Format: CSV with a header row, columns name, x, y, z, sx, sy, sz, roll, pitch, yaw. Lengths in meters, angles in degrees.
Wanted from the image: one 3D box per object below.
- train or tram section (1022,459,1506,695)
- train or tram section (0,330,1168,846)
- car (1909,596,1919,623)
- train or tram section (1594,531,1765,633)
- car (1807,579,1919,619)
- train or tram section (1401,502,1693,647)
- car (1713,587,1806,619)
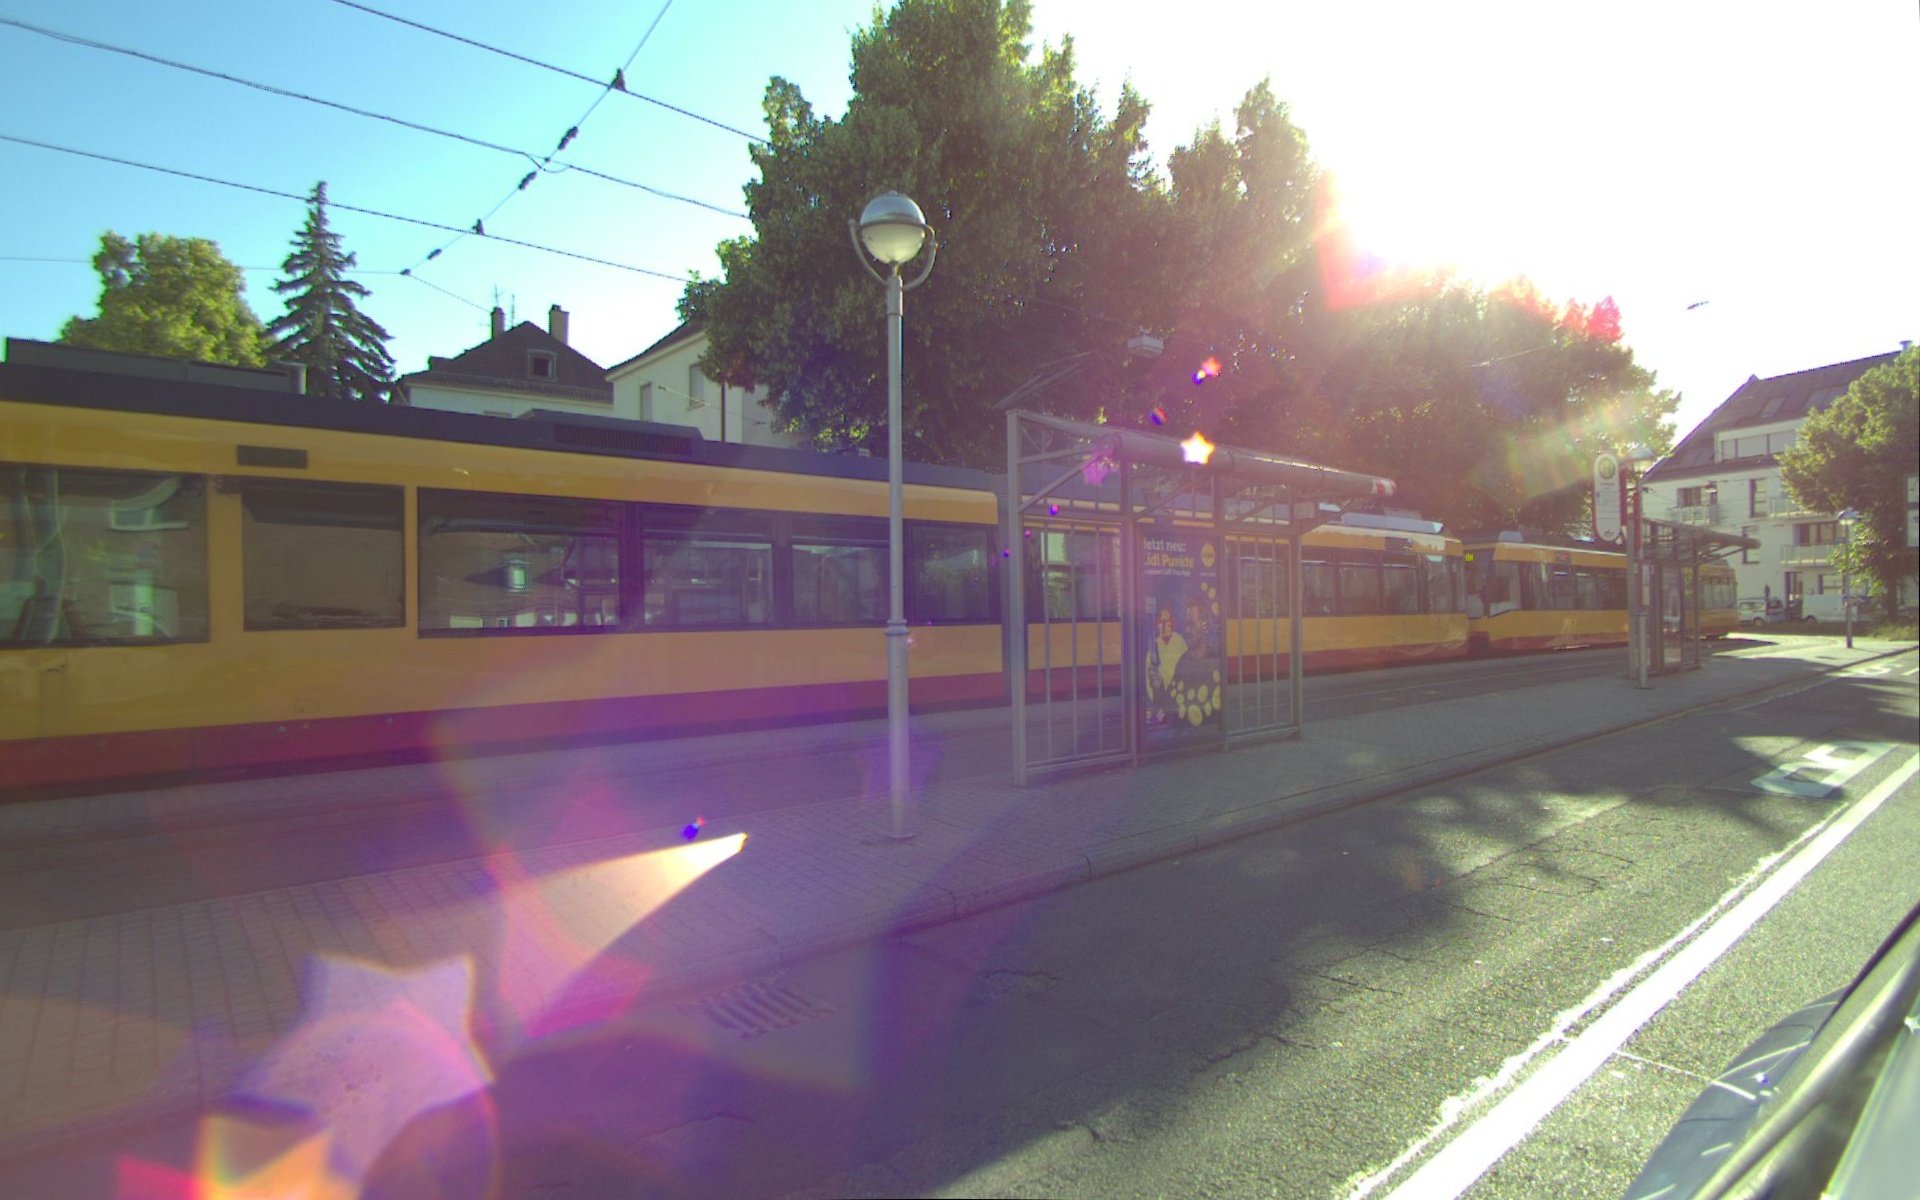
name,x,y,z,sx,sy,sz,roll,pitch,yaw
train or tram section,7.042,-0.502,20.866,13.230,3.578,2.962,-2,1,-41
train or tram section,-3.692,-0.210,11.559,15.692,3.578,2.962,-2,1,-41
car,53.928,0.466,54.346,1.574,1.481,4.211,-1,-2,-9
train or tram section,28.809,-0.628,40.117,13.236,3.465,2.960,0,0,-43
car,48.089,-0.029,53.735,1.835,1.958,4.794,-1,-2,-4
train or tram section,18.288,-0.621,30.513,15.665,3.465,2.961,0,0,-42
car,51.251,0.181,64.956,1.958,1.981,4.281,0,0,-21
